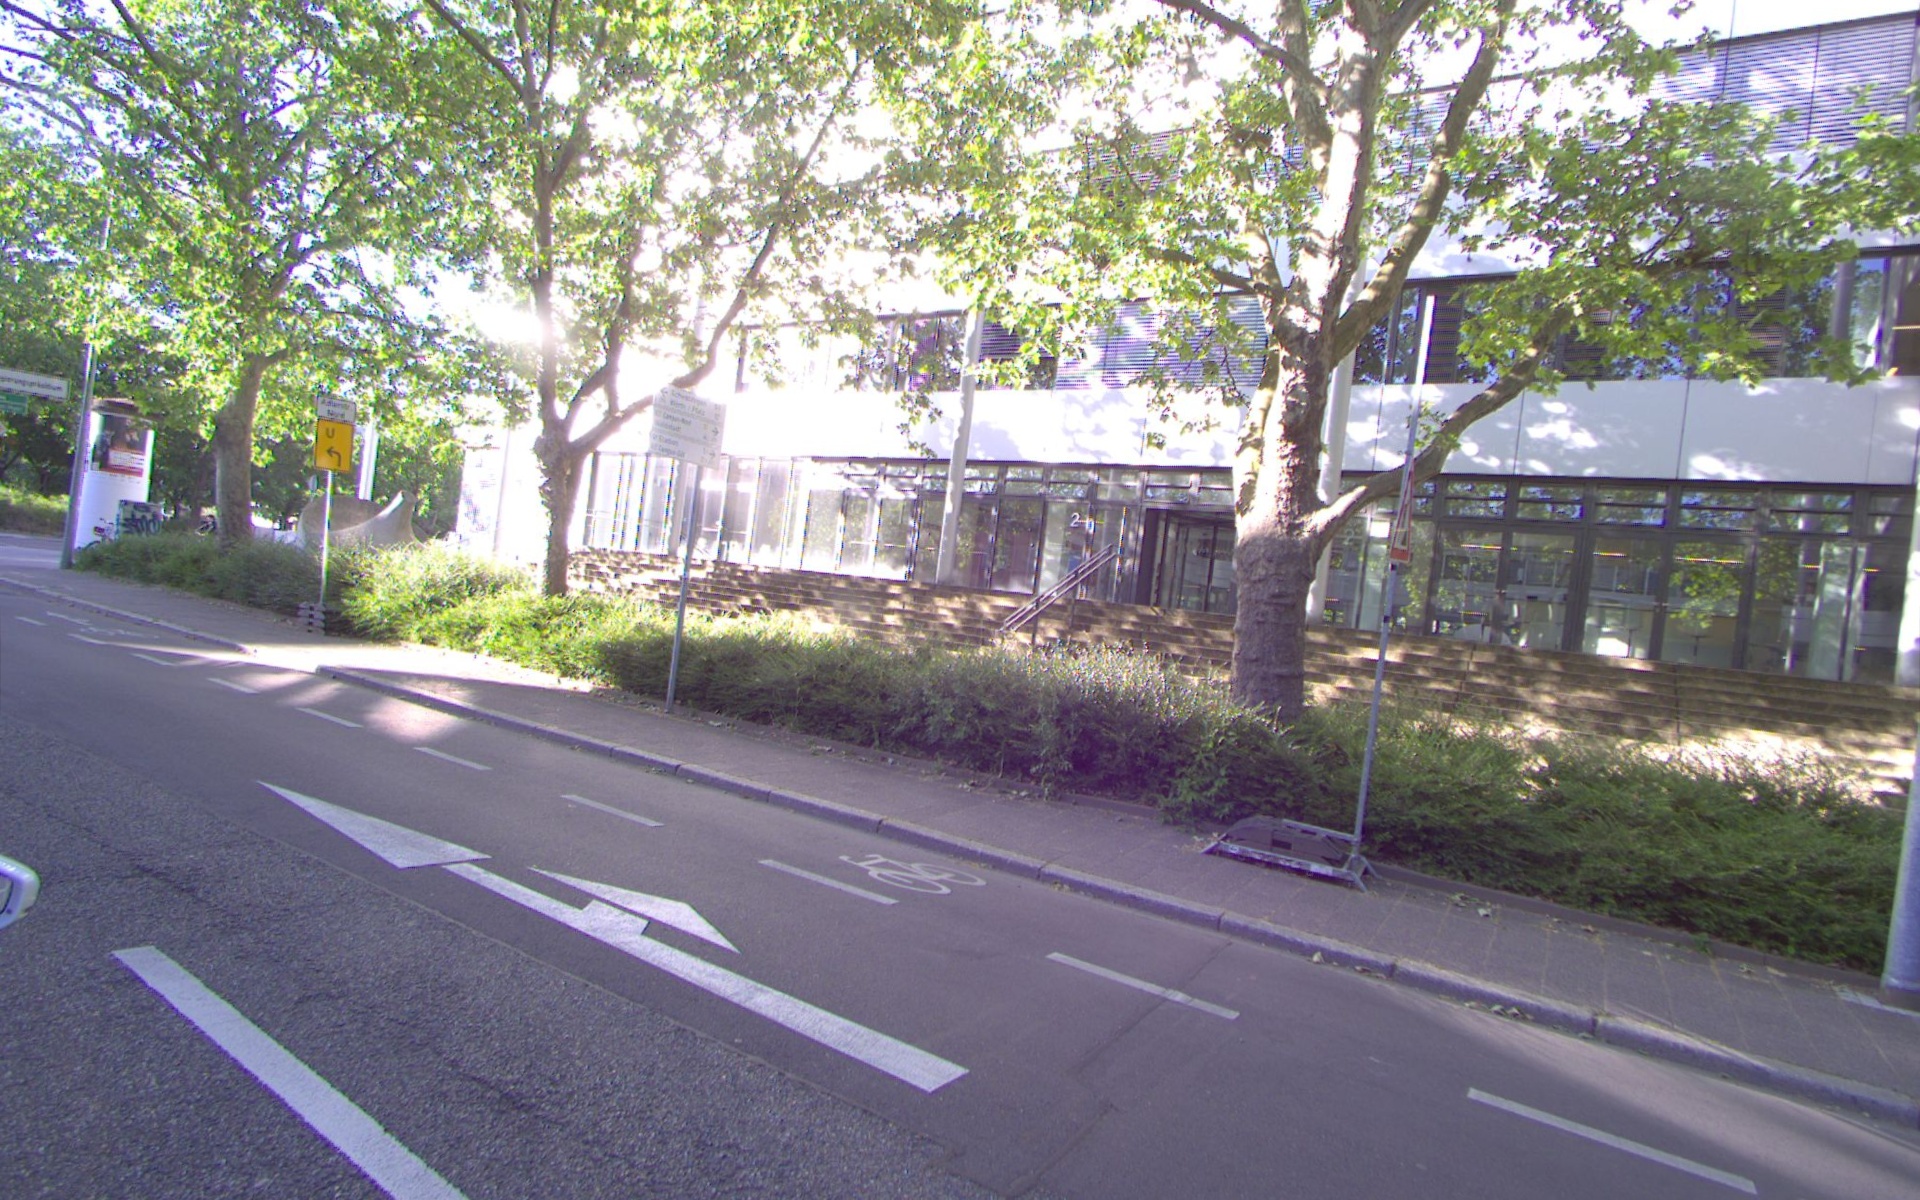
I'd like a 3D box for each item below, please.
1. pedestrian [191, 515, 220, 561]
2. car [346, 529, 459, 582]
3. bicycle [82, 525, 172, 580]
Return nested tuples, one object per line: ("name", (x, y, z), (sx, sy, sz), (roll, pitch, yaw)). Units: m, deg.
("pedestrian", (-31.448, -2.588, 41.925), (0.620, 1.805, 0.620), (7, 0, 34))
("car", (-25.887, -2.045, 46.822), (1.969, 1.805, 3.998), (7, -1, 37))
("bicycle", (-19.097, -1.087, 23.099), (0.529, 1.049, 1.418), (7, -1, 28))
